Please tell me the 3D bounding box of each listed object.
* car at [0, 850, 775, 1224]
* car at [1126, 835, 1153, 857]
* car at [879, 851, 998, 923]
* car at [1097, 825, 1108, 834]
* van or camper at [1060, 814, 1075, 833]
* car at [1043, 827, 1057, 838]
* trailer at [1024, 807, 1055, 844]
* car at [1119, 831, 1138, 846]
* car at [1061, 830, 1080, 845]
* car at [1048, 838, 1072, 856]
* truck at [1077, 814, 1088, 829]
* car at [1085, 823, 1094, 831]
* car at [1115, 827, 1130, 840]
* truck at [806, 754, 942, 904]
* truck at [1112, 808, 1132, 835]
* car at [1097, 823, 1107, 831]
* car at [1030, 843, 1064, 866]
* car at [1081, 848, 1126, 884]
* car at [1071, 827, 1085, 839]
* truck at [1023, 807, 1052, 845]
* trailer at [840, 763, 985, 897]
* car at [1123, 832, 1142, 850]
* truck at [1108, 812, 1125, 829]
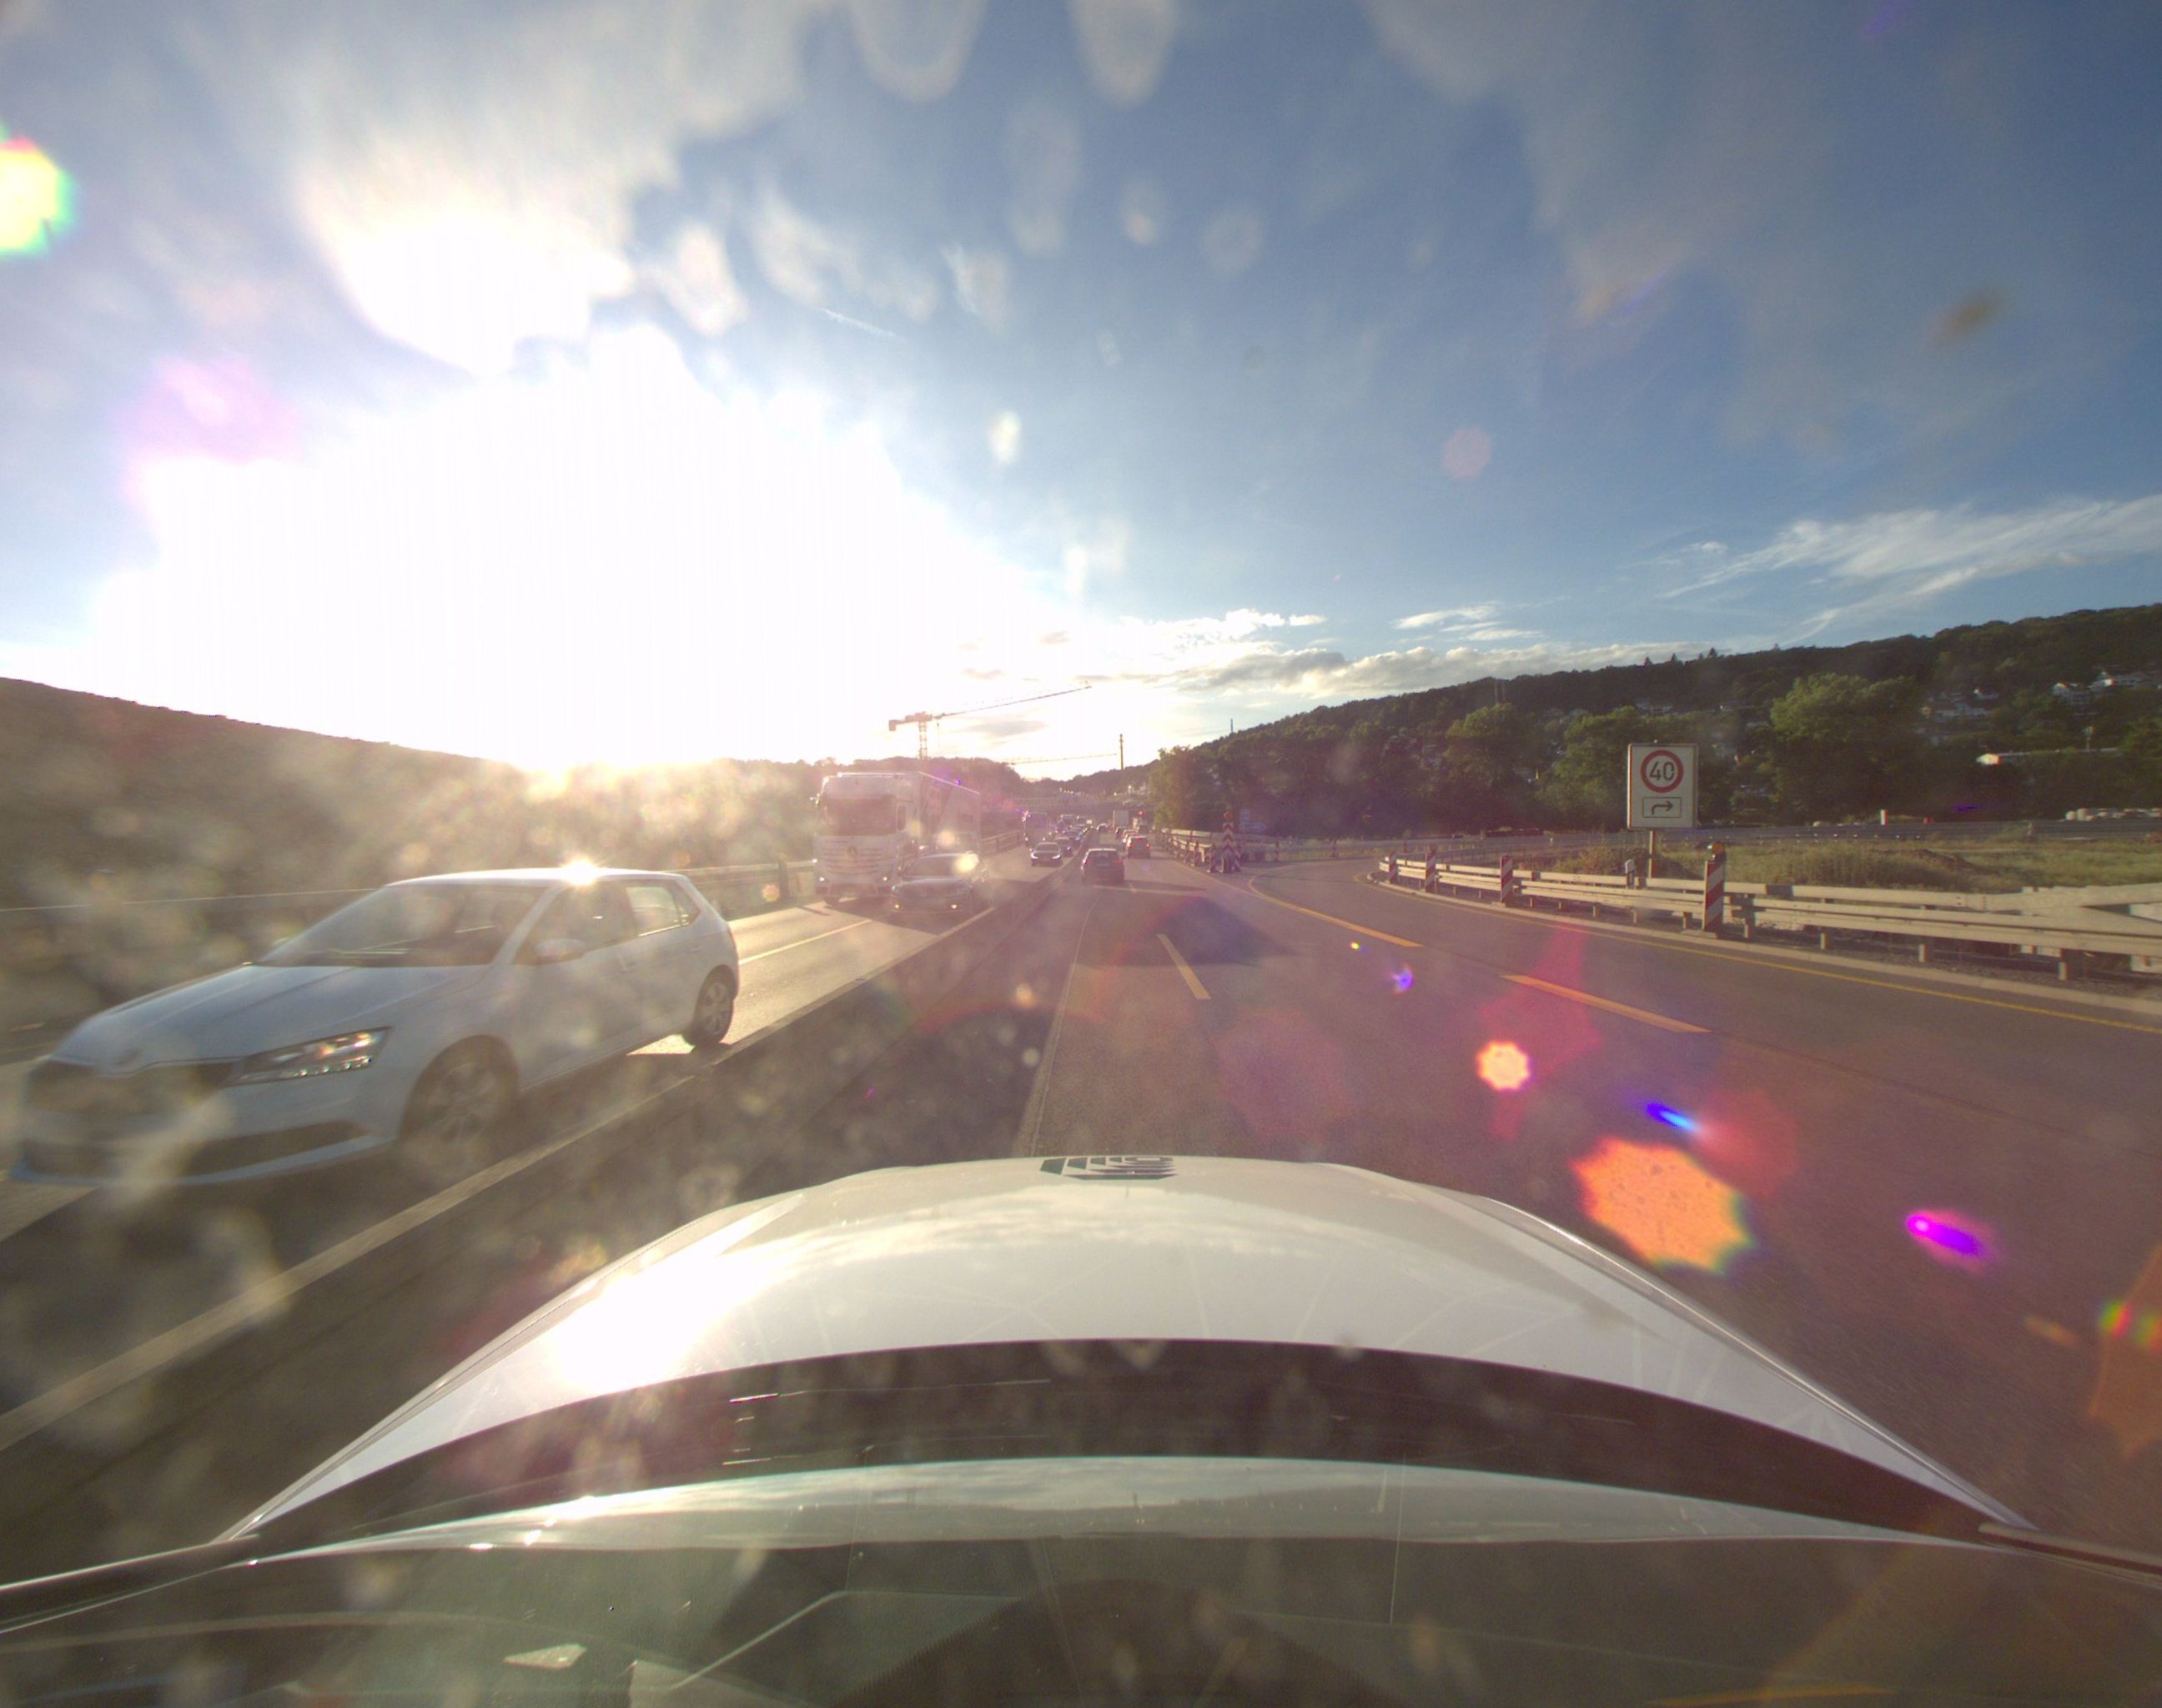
[{"bbox_3d":[-3.854,0.786,5.467,1.781,1.488,4.222,-2,-1,3],"label":"car"},{"bbox_3d":[4.393,-0.583,61.916,1.806,1.615,4.526,0,0,1],"label":"car"},{"bbox_3d":[-3.246,0.684,19.475,1.842,1.483,4.513,-1,0,2],"label":"car"},{"bbox_3d":[3.652,-4.135,136.654,1.856,1.420,4.002,0,2,1],"label":"car"},{"bbox_3d":[-2.568,-5.843,156.973,2.449,3.497,7.417,-1,3,1],"label":"van or camper"},{"bbox_3d":[-4.833,-3.349,127.466,1.986,1.764,4.443,0,2,2],"label":"car"},{"bbox_3d":[-4.683,-3.266,94.781,2.764,4.030,13.685,0,2,1],"label":"trailer"},{"bbox_3d":[5.287,-1.757,91.260,1.869,1.599,4.966,-1,1,0],"label":"car"},{"bbox_3d":[-1.111,-1.766,87.355,1.904,1.609,4.497,-1,1,1],"label":"car"},{"bbox_3d":[-1.661,-0.613,66.661,1.709,1.409,4.329,-1,1,2],"label":"car"},{"bbox_3d":[0.507,-8.820,223.931,2.803,4.047,5.677,-1,2,3],"label":"truck"},{"bbox_3d":[1.793,-5.882,175.642,1.821,1.639,4.531,-2,2,0],"label":"car"},{"bbox_3d":[5.407,-2.734,106.565,1.808,1.632,4.412,0,2,1],"label":"car"},{"bbox_3d":[-6.350,-0.719,25.956,2.543,4.221,6.053,0,0,2],"label":"truck"},{"bbox_3d":[7.332,-6.089,148.754,3.373,4.496,15.280,0,4,2],"label":"truck"},{"bbox_3d":[4.431,-5.755,172.554,1.916,1.552,4.002,0,-1,2],"label":"car"},{"bbox_3d":[-2.148,0.012,52.290,1.830,1.409,4.497,-1,1,1],"label":"car"},{"bbox_3d":[0.902,0.458,34.034,1.764,1.390,4.000,0,1,0],"label":"car"},{"bbox_3d":[-0.440,-3.359,129.369,1.986,1.794,4.002,0,0,2],"label":"car"},{"bbox_3d":[-4.708,-3.037,88.767,2.760,4.080,5.777,0,2,0],"label":"truck"},{"bbox_3d":[-6.114,-0.774,32.605,2.521,4.213,13.938,0,0,2],"label":"trailer"},{"bbox_3d":[4.907,-1.291,78.158,1.767,1.585,4.138,0,2,2],"label":"car"},{"bbox_3d":[9.695,-9.071,221.958,3.879,4.497,13.847,0,3,-1],"label":"truck"}]
